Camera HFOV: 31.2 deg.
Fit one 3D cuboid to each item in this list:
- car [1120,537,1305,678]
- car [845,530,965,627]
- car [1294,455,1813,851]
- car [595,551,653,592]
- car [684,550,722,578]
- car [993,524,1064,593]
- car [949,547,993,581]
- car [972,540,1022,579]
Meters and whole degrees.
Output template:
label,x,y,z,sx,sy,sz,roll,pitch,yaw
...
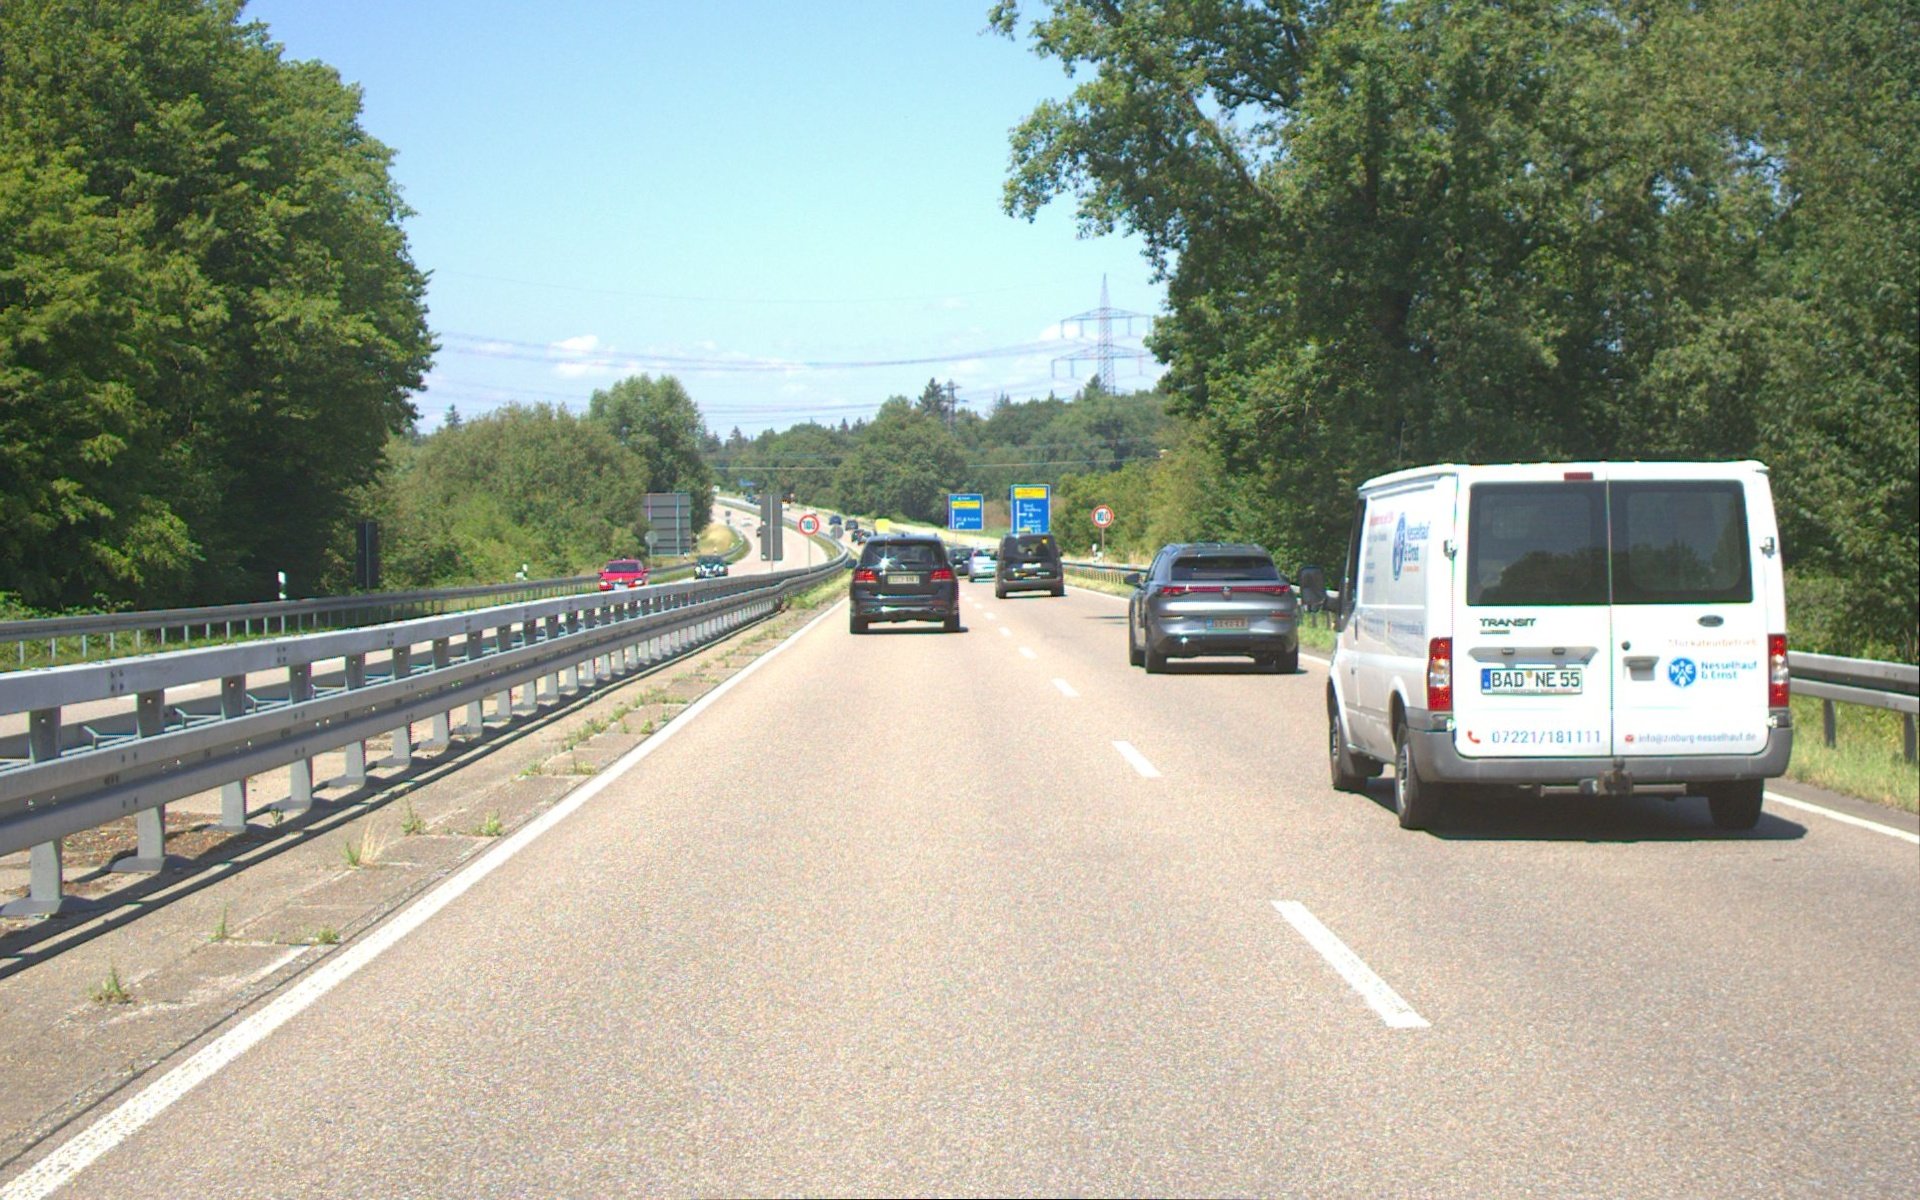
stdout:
label,x,y,z,sx,sy,sz,roll,pitch,yaw
car,2.997,0.050,41.544,1.785,1.548,4.020,-1,2,-2
car,-1.008,-0.405,61.107,1.993,1.649,4.001,0,1,-3
car,3.259,0.243,19.954,2.005,1.982,5.035,-1,1,-1
car,-12.537,-1.076,128.372,1.776,1.414,4.576,-2,1,-1
car,-13.801,-1.945,184.824,1.797,1.463,3.773,0,1,0
car,1.887,-1.175,96.091,1.779,1.810,4.213,-2,2,-1
car,0.502,-1.664,156.513,1.819,1.409,4.001,-2,2,-1
car,1.533,-1.694,142.790,1.779,1.474,4.316,2,2,-3
